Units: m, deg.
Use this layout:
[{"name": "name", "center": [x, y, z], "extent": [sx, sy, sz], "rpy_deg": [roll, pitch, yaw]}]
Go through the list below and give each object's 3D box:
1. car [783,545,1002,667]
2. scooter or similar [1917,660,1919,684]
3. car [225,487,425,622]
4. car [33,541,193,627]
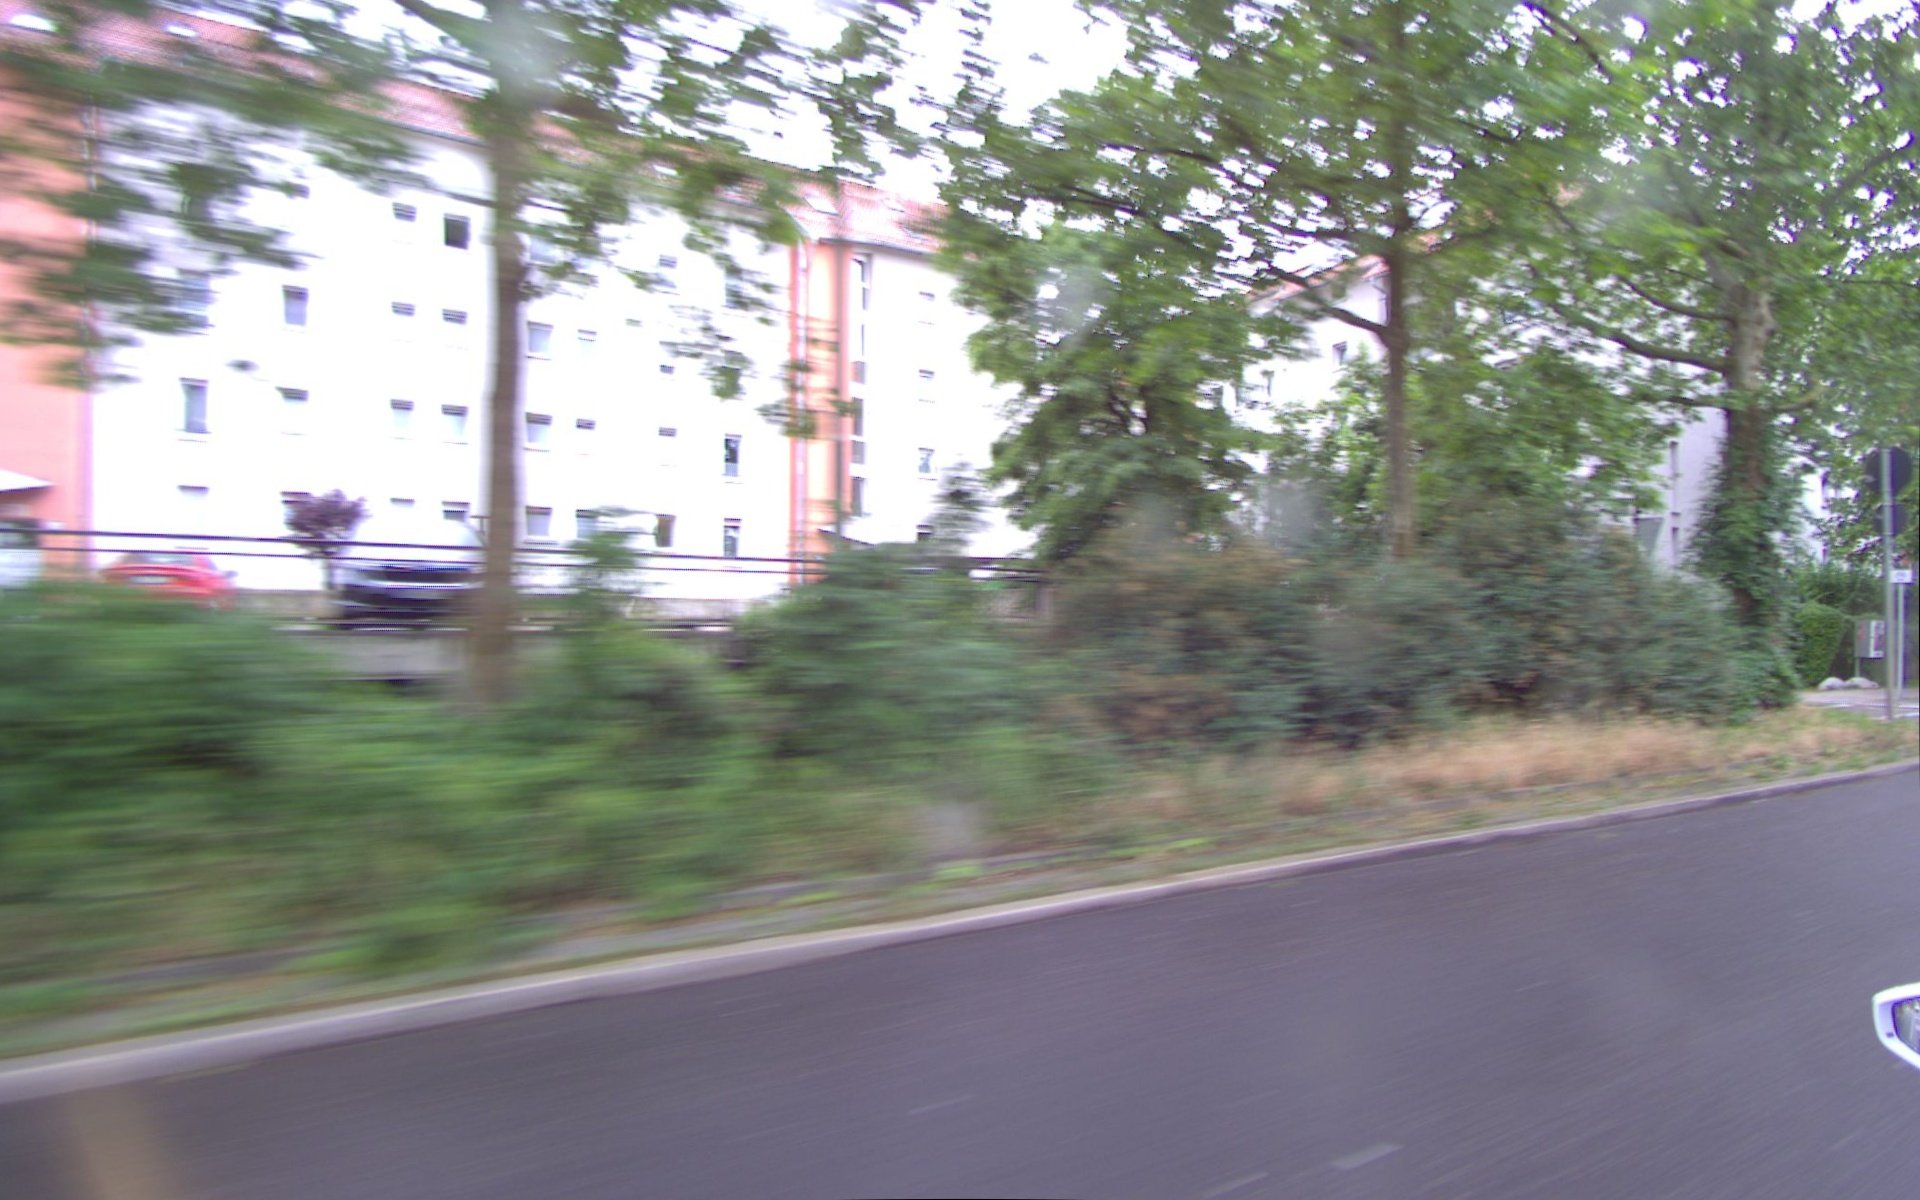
[{"name": "car", "center": [-1.239, 0.098, 16.457], "extent": [1.977, 1.693, 3.967], "rpy_deg": [3, -1, -30]}, {"name": "scooter or similar", "center": [27.510, 2.056, 28.591], "extent": [0.384, 0.690, 0.305], "rpy_deg": [3, -1, -33]}, {"name": "car", "center": [-7.874, -0.446, 12.612], "extent": [1.810, 1.392, 3.966], "rpy_deg": [1, -1, -31]}, {"name": "car", "center": [-16.074, -0.240, 19.270], "extent": [1.645, 1.450, 3.968], "rpy_deg": [1, -1, -30]}]
